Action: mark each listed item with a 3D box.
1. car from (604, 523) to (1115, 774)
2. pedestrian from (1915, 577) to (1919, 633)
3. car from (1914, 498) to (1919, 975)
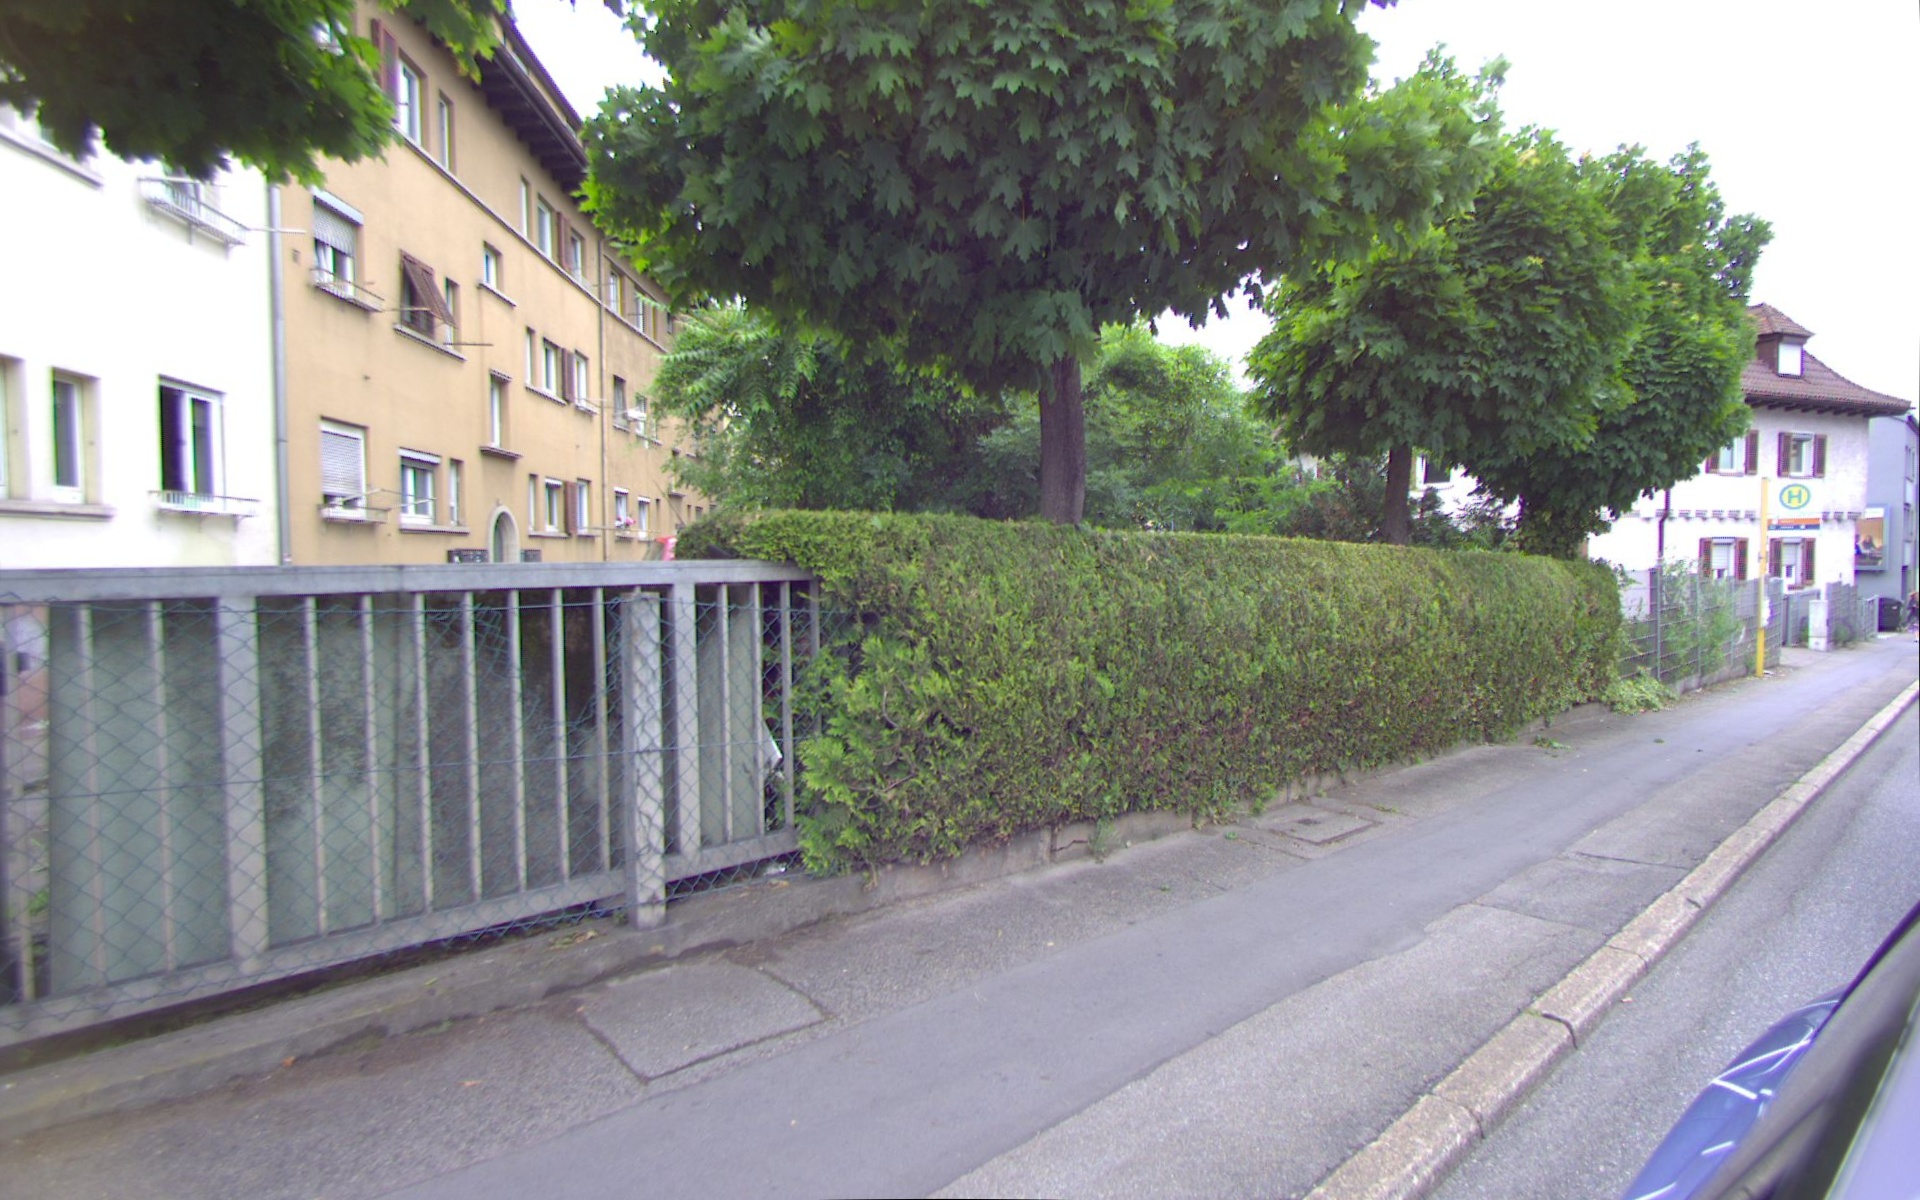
[{"bbox_3d":[-0.786,0.261,7.324,3.367,1.478,1.705,0,1,-20],"label":"car"},{"bbox_3d":[32.006,0.178,33.274,0.580,1.863,0.649,1,1,-18],"label":"pedestrian"},{"bbox_3d":[5.960,0.495,4.645,4.629,1.804,1.861,-1,1,-41],"label":"car"}]
